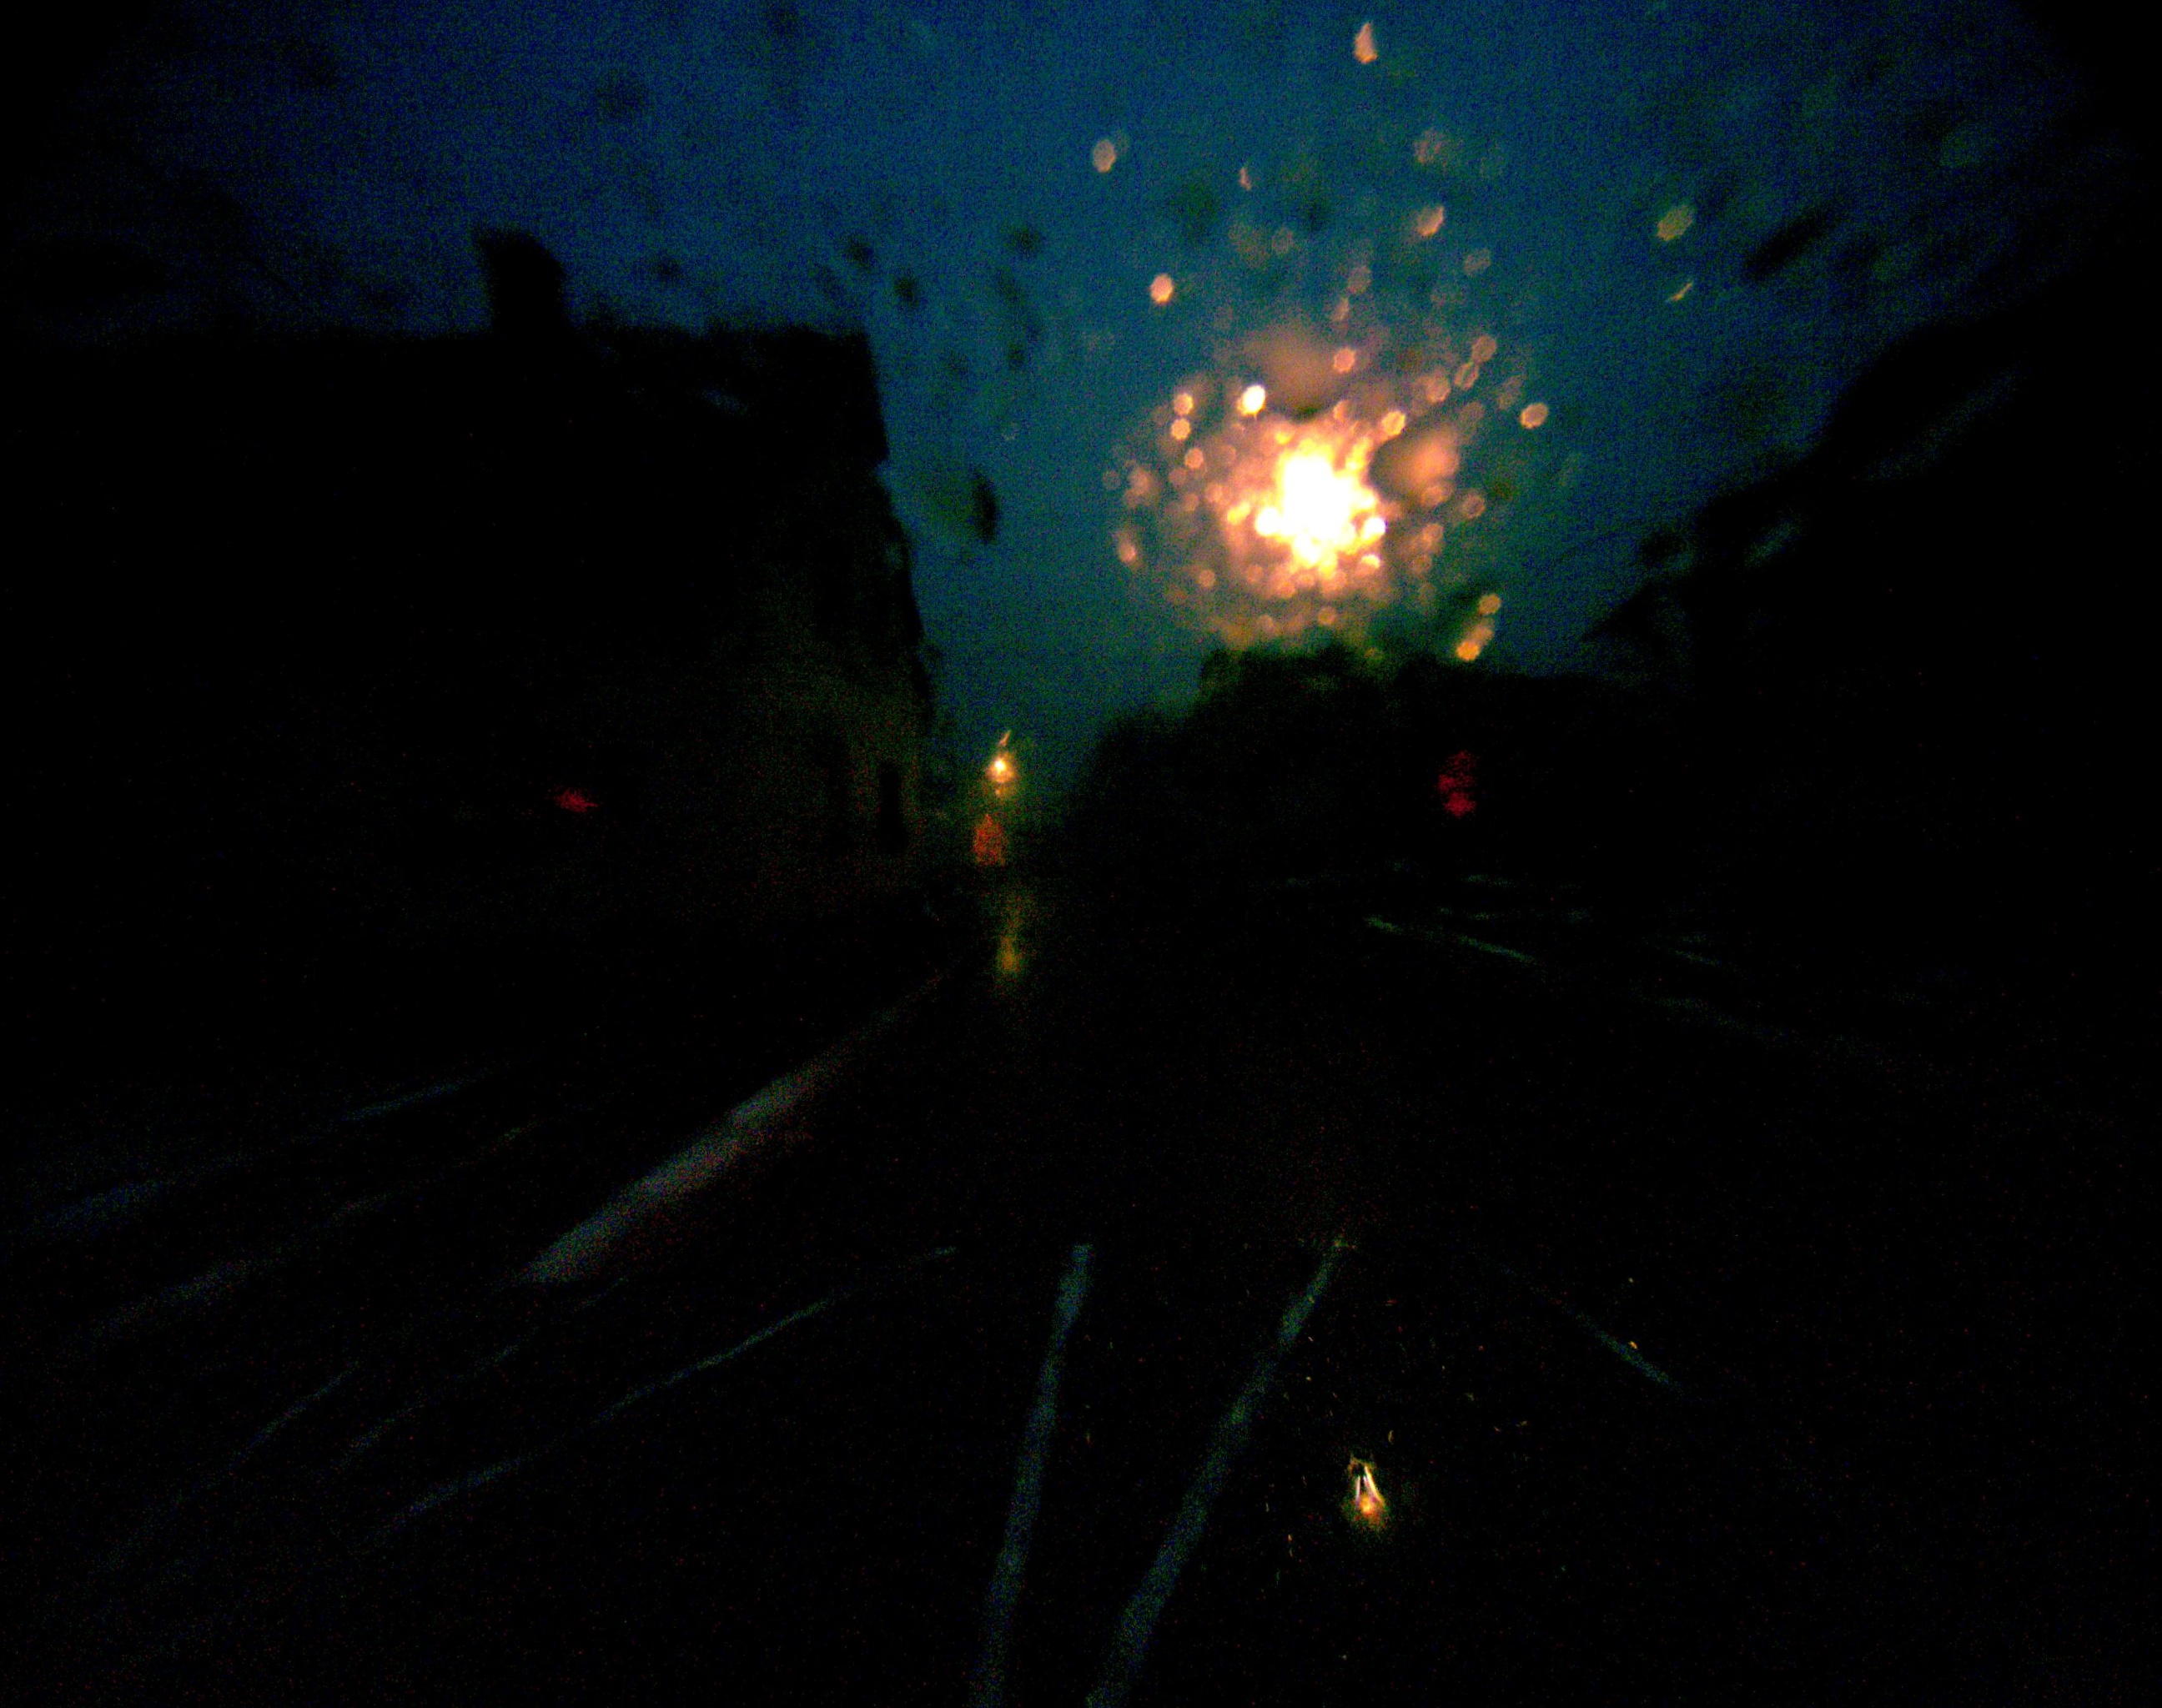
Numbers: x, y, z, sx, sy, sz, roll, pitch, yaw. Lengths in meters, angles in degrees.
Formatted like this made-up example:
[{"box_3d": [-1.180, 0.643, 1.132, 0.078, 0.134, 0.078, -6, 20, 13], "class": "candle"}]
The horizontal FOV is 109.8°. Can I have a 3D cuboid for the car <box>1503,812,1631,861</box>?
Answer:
[{"box_3d": [18.127, -0.654, 28.361, 4.003, 1.521, 1.996, -4, 2, -20], "class": "car"}]

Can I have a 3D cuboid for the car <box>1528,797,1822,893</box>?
[{"box_3d": [11.133, -0.170, 14.584, 1.882, 1.496, 3.992, -4, 2, -24], "class": "car"}]
